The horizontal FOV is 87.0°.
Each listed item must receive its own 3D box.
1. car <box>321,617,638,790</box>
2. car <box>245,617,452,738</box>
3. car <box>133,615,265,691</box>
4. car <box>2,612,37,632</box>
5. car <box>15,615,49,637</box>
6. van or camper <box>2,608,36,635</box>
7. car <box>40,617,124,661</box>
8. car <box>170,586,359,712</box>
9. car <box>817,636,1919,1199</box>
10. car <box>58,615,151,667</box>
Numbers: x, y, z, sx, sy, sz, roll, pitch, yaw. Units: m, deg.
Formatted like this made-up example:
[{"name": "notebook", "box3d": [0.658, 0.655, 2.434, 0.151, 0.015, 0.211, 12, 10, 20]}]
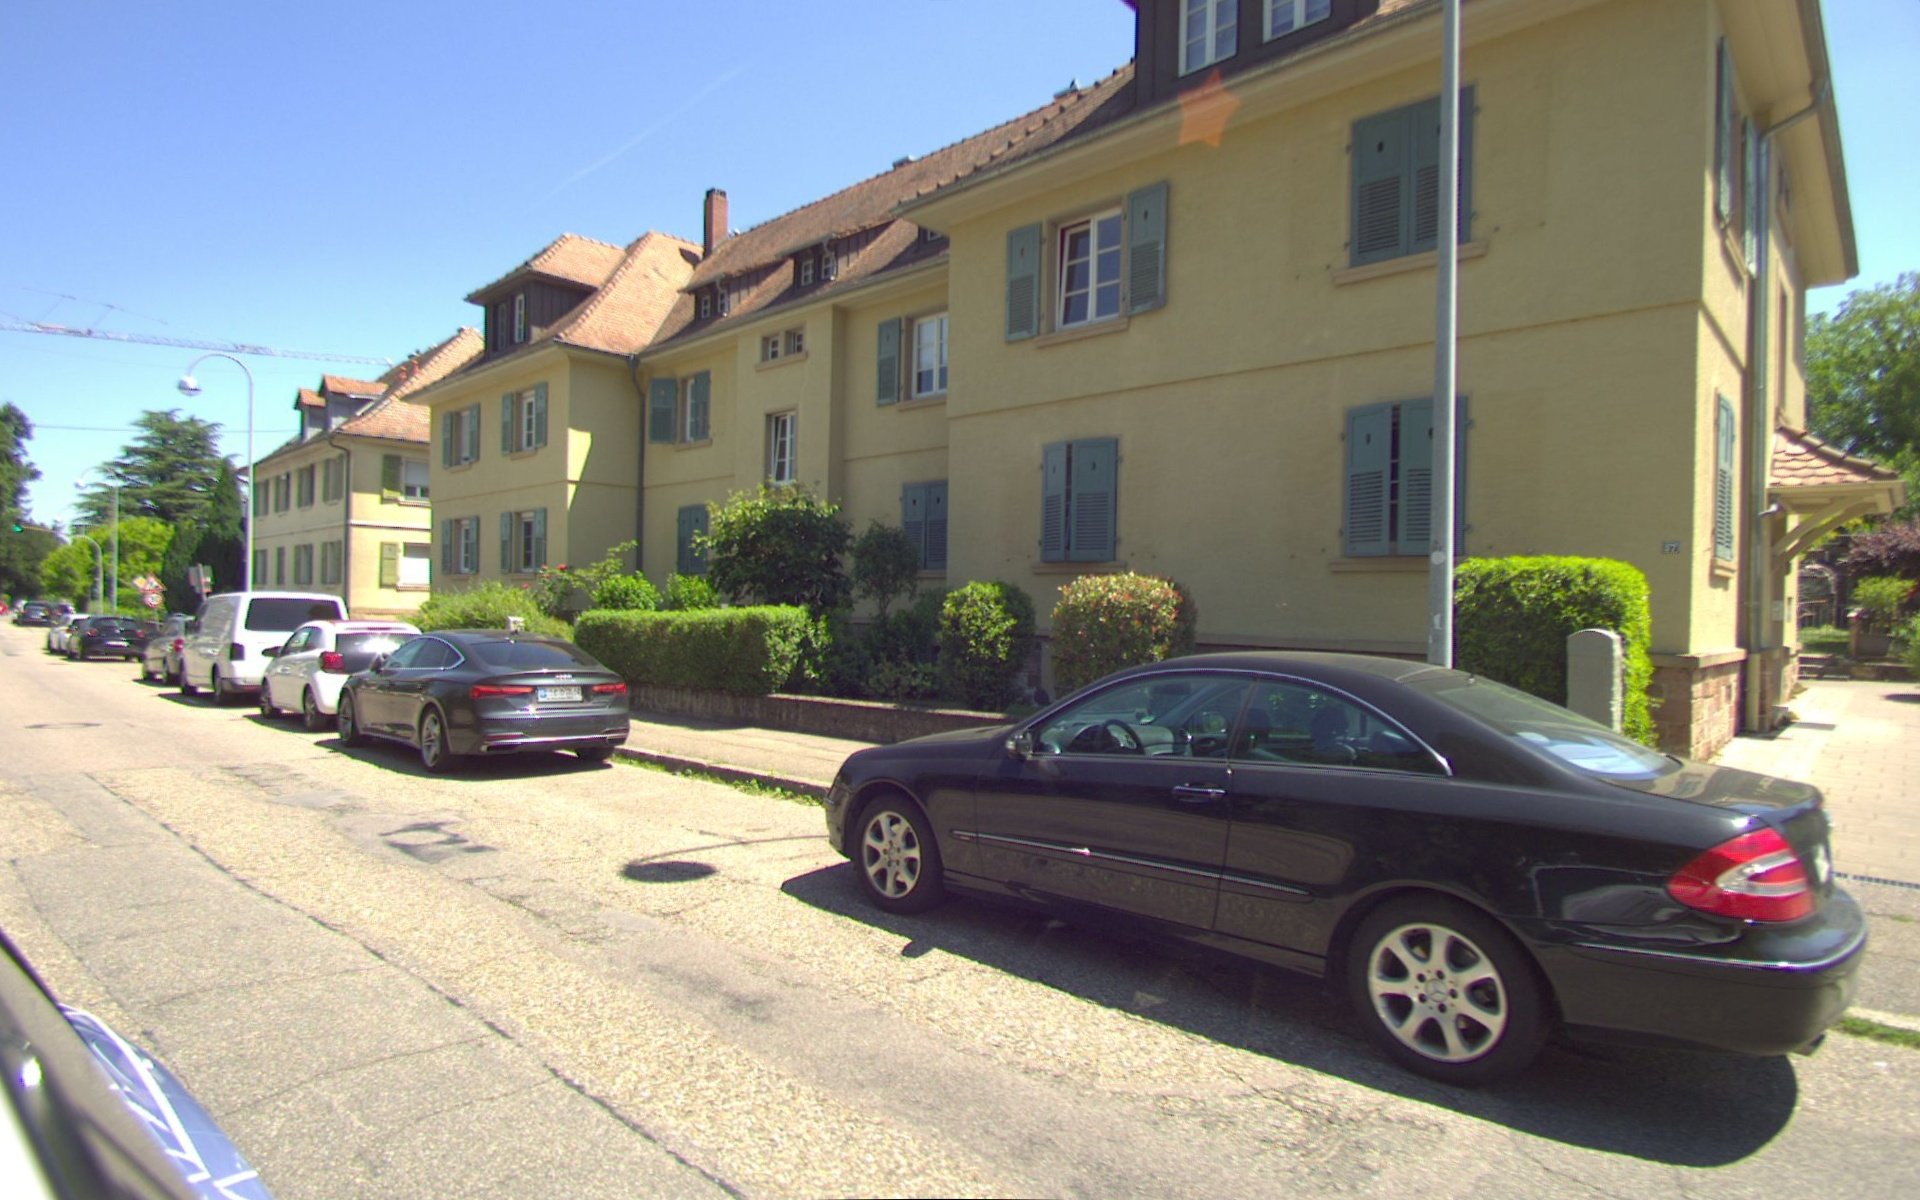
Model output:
[{"name": "car", "box3d": [-5.386, 0.946, 11.037, 4.467, 1.504, 1.647, -1, -2, 44]}, {"name": "car", "box3d": [-8.844, 1.028, 14.542, 3.478, 1.504, 1.647, -1, -3, 44]}, {"name": "car", "box3d": [-17.077, 1.152, 22.649, 4.063, 1.537, 1.668, -1, -4, 44]}, {"name": "car", "box3d": [-72.513, 1.701, 78.075, 1.660, 1.452, 4.254, 4, -2, -40]}, {"name": "car", "box3d": [-65.305, 1.845, 71.212, 1.661, 1.423, 3.930, 4, -3, -43]}, {"name": "van or camper", "box3d": [-68.715, 1.554, 73.950, 1.660, 1.818, 3.991, 4, -3, -42]}, {"name": "car", "box3d": [-31.355, 1.365, 36.100, 4.219, 1.413, 1.775, 0, -3, 43]}, {"name": "car", "box3d": [-12.569, 0.841, 18.163, 4.627, 1.978, 1.856, -1, -4, 45]}, {"name": "car", "box3d": [1.389, 0.915, 4.607, 4.380, 1.396, 1.647, -1, -3, 43]}, {"name": "car", "box3d": [-27.349, 1.289, 32.313, 4.076, 1.496, 1.697, 0, -3, 43]}]
